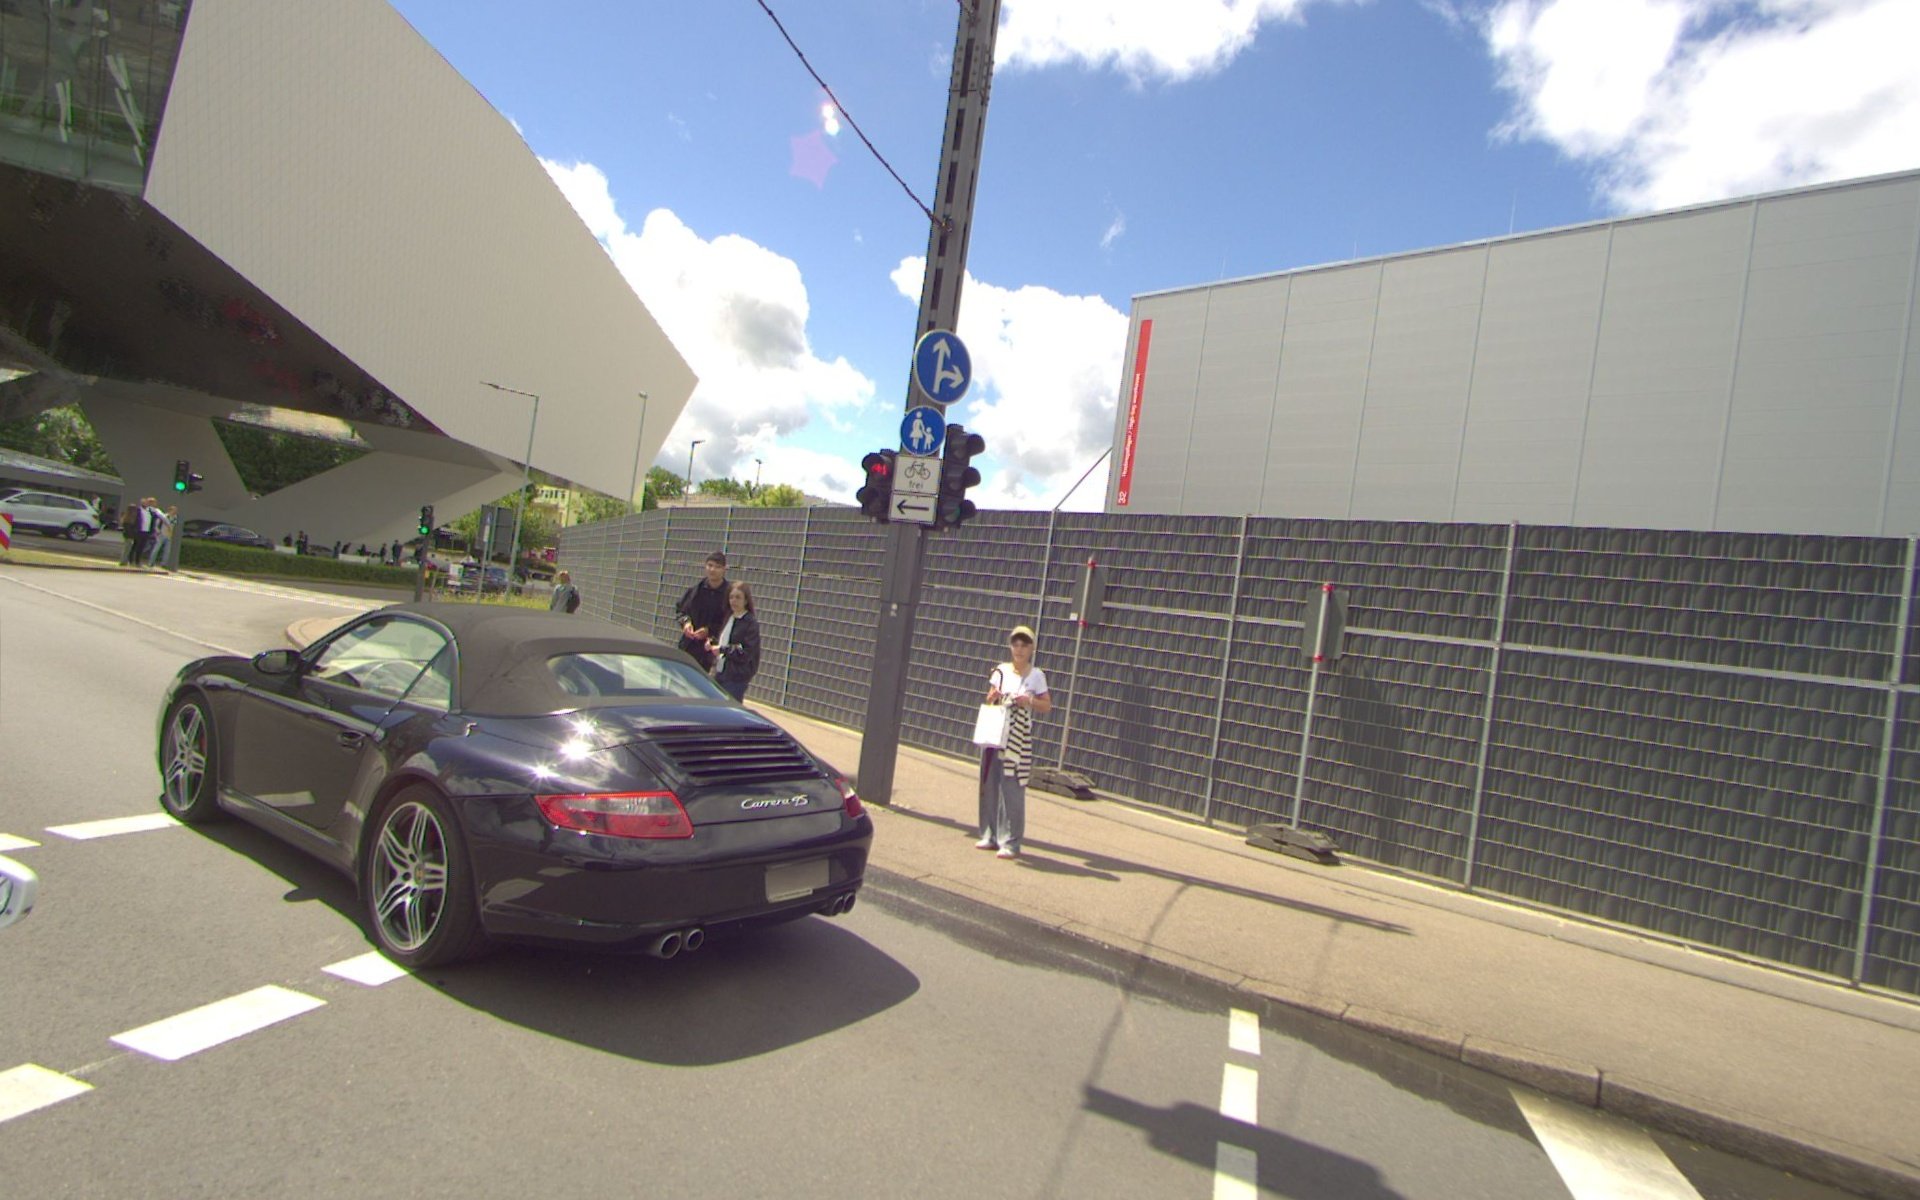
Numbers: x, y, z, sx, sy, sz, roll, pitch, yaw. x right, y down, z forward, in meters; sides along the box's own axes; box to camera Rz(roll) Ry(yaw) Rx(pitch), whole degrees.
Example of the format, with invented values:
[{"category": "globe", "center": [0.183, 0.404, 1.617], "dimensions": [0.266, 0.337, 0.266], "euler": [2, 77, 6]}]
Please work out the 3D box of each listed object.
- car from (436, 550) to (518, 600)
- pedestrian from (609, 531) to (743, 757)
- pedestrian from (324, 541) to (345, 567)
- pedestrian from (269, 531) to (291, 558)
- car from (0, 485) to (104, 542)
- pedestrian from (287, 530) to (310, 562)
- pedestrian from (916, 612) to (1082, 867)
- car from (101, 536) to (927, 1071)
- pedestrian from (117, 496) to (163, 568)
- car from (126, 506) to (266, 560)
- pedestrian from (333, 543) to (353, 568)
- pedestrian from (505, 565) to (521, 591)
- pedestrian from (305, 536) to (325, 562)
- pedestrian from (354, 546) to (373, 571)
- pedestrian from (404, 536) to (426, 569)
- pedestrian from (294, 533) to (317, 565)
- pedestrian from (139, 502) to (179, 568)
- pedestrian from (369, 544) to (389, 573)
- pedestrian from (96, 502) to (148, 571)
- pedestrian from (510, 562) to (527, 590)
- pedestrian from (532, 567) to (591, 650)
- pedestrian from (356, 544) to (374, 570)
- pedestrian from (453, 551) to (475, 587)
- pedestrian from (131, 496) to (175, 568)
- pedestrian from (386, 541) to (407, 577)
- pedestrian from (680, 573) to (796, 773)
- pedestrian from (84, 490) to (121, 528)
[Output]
[{"category": "car", "center": [-21.362, -1.080, 44.697], "dimensions": [1.966, 1.721, 3.999], "euler": [8, -3, -8]}, {"category": "pedestrian", "center": [-2.548, 0.400, 9.102], "dimensions": [0.778, 1.887, 0.662], "euler": [7, -2, 1]}, {"category": "pedestrian", "center": [-45.840, -3.372, 73.721], "dimensions": [0.763, 1.758, 0.828], "euler": [7, -2, -3]}, {"category": "pedestrian", "center": [-49.501, -4.024, 73.226], "dimensions": [0.762, 1.758, 0.828], "euler": [7, -2, 0]}, {"category": "car", "center": [-32.703, -3.101, 34.976], "dimensions": [1.805, 1.568, 4.000], "euler": [6, -1, 21]}, {"category": "pedestrian", "center": [-45.218, -3.693, 68.735], "dimensions": [0.763, 2.036, 0.828], "euler": [7, -2, -3]}, {"category": "pedestrian", "center": [0.289, 0.962, 7.174], "dimensions": [0.808, 1.626, 0.661], "euler": [6, -2, 26]}, {"category": "car", "center": [-2.352, 0.665, 4.965], "dimensions": [3.937, 1.340, 1.837], "euler": [8, -2, 35]}, {"category": "pedestrian", "center": [-22.037, -1.813, 27.054], "dimensions": [0.665, 1.815, 0.616], "euler": [8, -2, -28]}, {"category": "car", "center": [-30.530, -2.638, 40.357], "dimensions": [1.803, 1.398, 4.165], "euler": [9, -2, 12]}, {"category": "pedestrian", "center": [-46.188, -3.333, 75.314], "dimensions": [0.762, 1.758, 0.828], "euler": [7, -2, -1]}, {"category": "pedestrian", "center": [-37.258, -1.851, 83.864], "dimensions": [0.763, 2.036, 0.828], "euler": [7, -2, -3]}, {"category": "pedestrian", "center": [-48.555, -3.828, 75.694], "dimensions": [0.763, 1.758, 0.828], "euler": [7, -2, -3]}, {"category": "pedestrian", "center": [-45.934, -3.185, 77.456], "dimensions": [0.762, 1.758, 0.828], "euler": [7, -2, 0]}, {"category": "pedestrian", "center": [-35.895, -3.119, 66.219], "dimensions": [0.763, 2.036, 0.828], "euler": [7, -2, -3]}, {"category": "pedestrian", "center": [-45.309, -3.551, 69.664], "dimensions": [0.763, 2.036, 0.828], "euler": [7, -2, -3]}, {"category": "pedestrian", "center": [-22.891, -1.847, 28.774], "dimensions": [0.600, 1.779, 0.616], "euler": [8, -2, -29]}, {"category": "pedestrian", "center": [-45.089, -3.232, 78.092], "dimensions": [0.762, 2.138, 0.828], "euler": [7, -2, 0]}, {"category": "pedestrian", "center": [-21.817, -1.651, 26.202], "dimensions": [0.660, 1.656, 0.621], "euler": [6, -2, 19]}, {"category": "pedestrian", "center": [-35.102, -1.917, 80.029], "dimensions": [0.763, 2.036, 0.828], "euler": [7, -2, -3]}, {"category": "pedestrian", "center": [-8.278, 0.173, 20.899], "dimensions": [0.691, 1.604, 0.910], "euler": [9, -2, -42]}, {"category": "pedestrian", "center": [-45.028, -3.245, 76.149], "dimensions": [0.763, 1.758, 0.827], "euler": [7, -2, -8]}, {"category": "pedestrian", "center": [-30.544, -1.912, 61.963], "dimensions": [0.763, 2.036, 0.828], "euler": [7, -2, -3]}, {"category": "pedestrian", "center": [-22.281, -1.855, 27.781], "dimensions": [0.666, 1.868, 0.616], "euler": [8, -2, -30]}, {"category": "pedestrian", "center": [-33.804, -2.435, 60.313], "dimensions": [0.770, 2.036, 0.820], "euler": [8, -2, -37]}, {"category": "pedestrian", "center": [-1.940, 0.633, 8.828], "dimensions": [0.651, 1.634, 0.465], "euler": [6, -2, 21]}, {"category": "pedestrian", "center": [-42.731, -4.511, 50.113], "dimensions": [0.906, 1.695, 0.832], "euler": [7, -2, 6]}]
